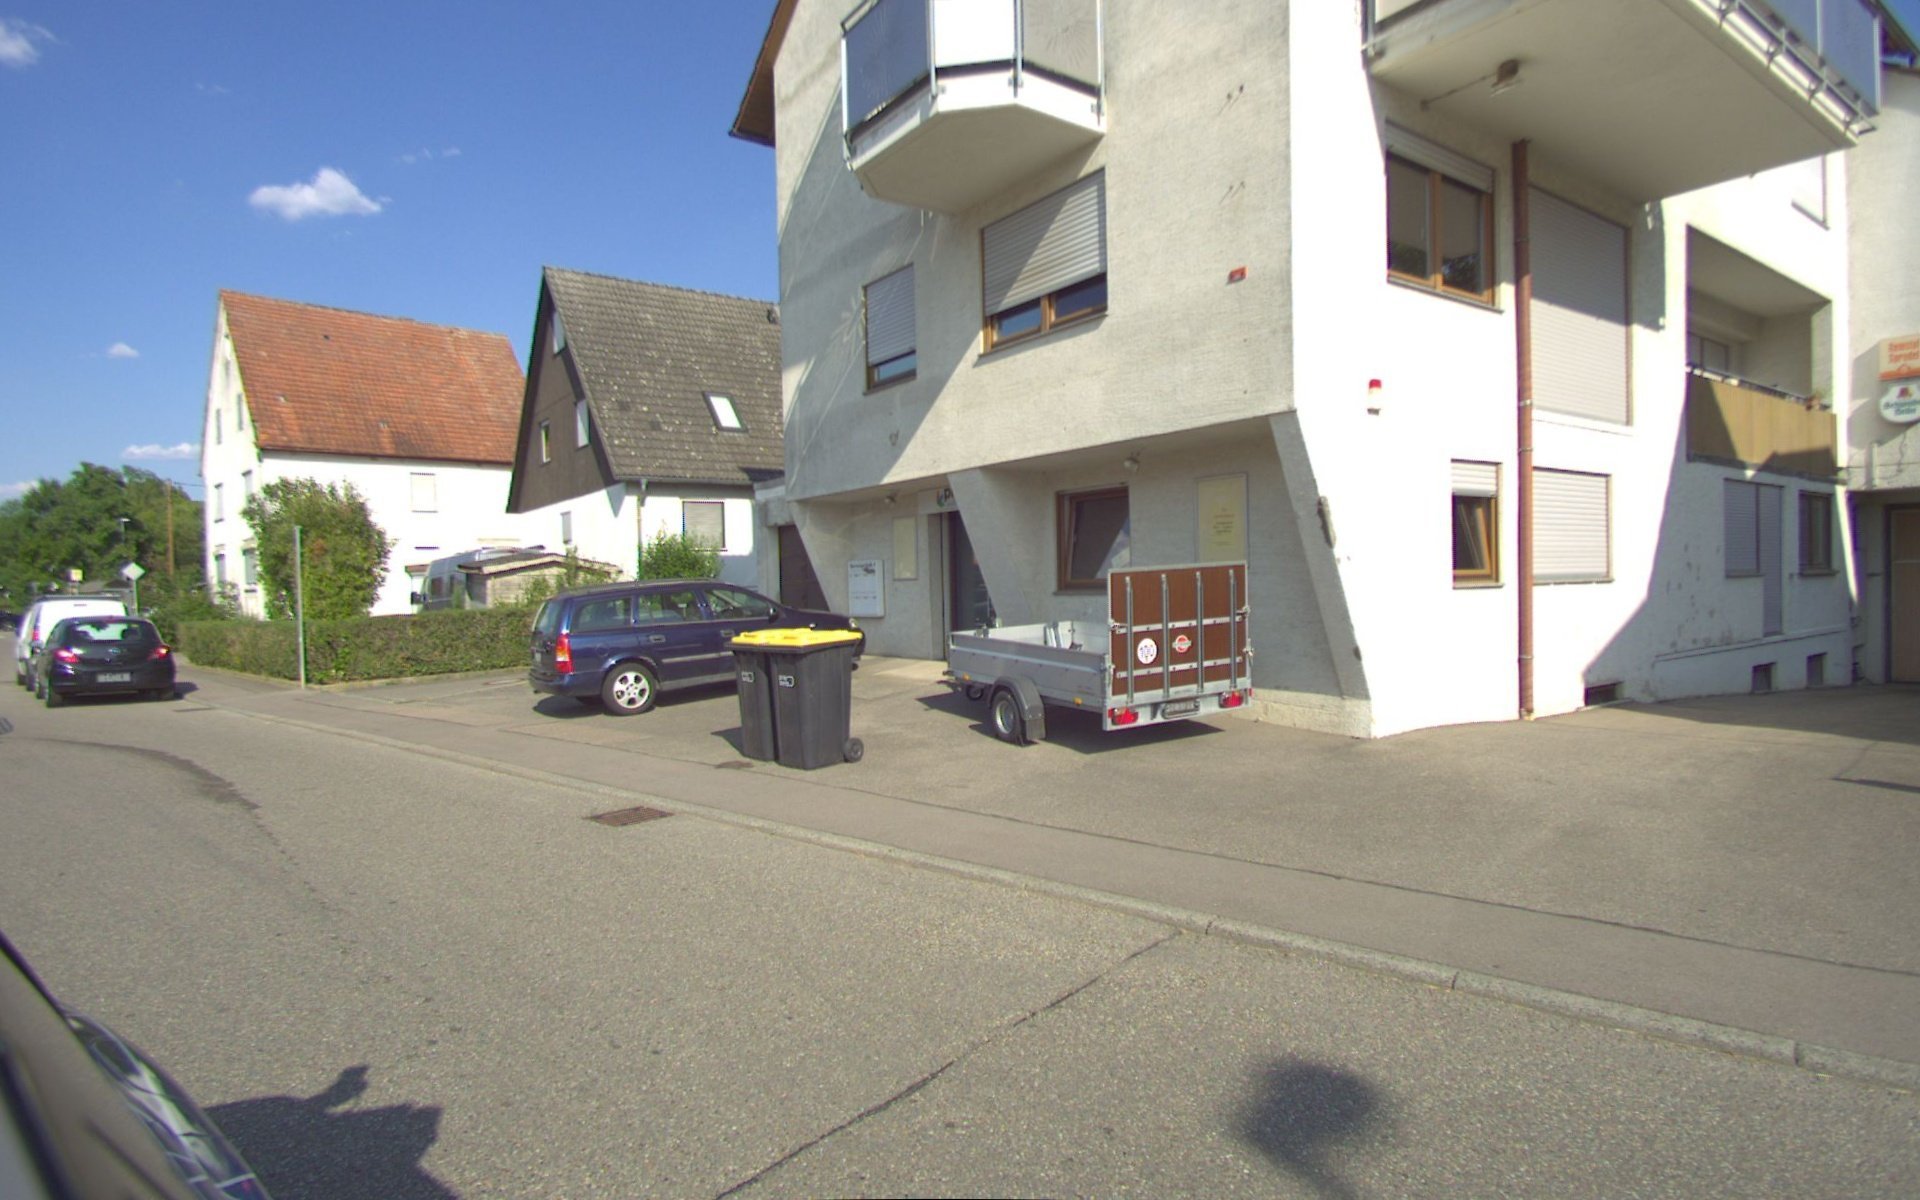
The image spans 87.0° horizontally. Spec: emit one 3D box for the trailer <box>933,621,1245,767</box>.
[{"bbox_3d":[1.045,0.750,9.271,1.311,0.861,2.900,-4,4,-31],"label":"trailer"}]

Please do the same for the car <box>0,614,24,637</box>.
[{"bbox_3d":[-63.871,1.693,65.298,1.758,1.442,4.811,0,1,21],"label":"car"}]

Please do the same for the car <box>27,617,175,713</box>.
[{"bbox_3d":[-15.190,1.054,17.829,3.836,1.462,1.654,-1,0,45],"label":"car"}]

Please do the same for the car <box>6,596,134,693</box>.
[{"bbox_3d":[-19.050,0.882,21.595,4.193,1.887,1.697,-1,-1,44],"label":"car"}]

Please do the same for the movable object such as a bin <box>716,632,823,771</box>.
[{"bbox_3d":[-1.631,0.840,8.682,0.618,1.079,0.593,-1,3,42],"label":"movable object such as a bin"}]

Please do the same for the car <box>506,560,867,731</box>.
[{"bbox_3d":[-3.379,0.453,12.828,3.936,1.549,1.767,-7,4,-36],"label":"car"}]

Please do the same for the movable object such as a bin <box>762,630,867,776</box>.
[{"bbox_3d":[-1.177,0.807,8.197,0.557,1.079,0.564,-1,3,42],"label":"movable object such as a bin"}]

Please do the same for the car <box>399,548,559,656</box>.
[{"bbox_3d":[-13.176,0.046,27.486,2.133,2.615,6.101,-3,1,-43],"label":"car"}]
